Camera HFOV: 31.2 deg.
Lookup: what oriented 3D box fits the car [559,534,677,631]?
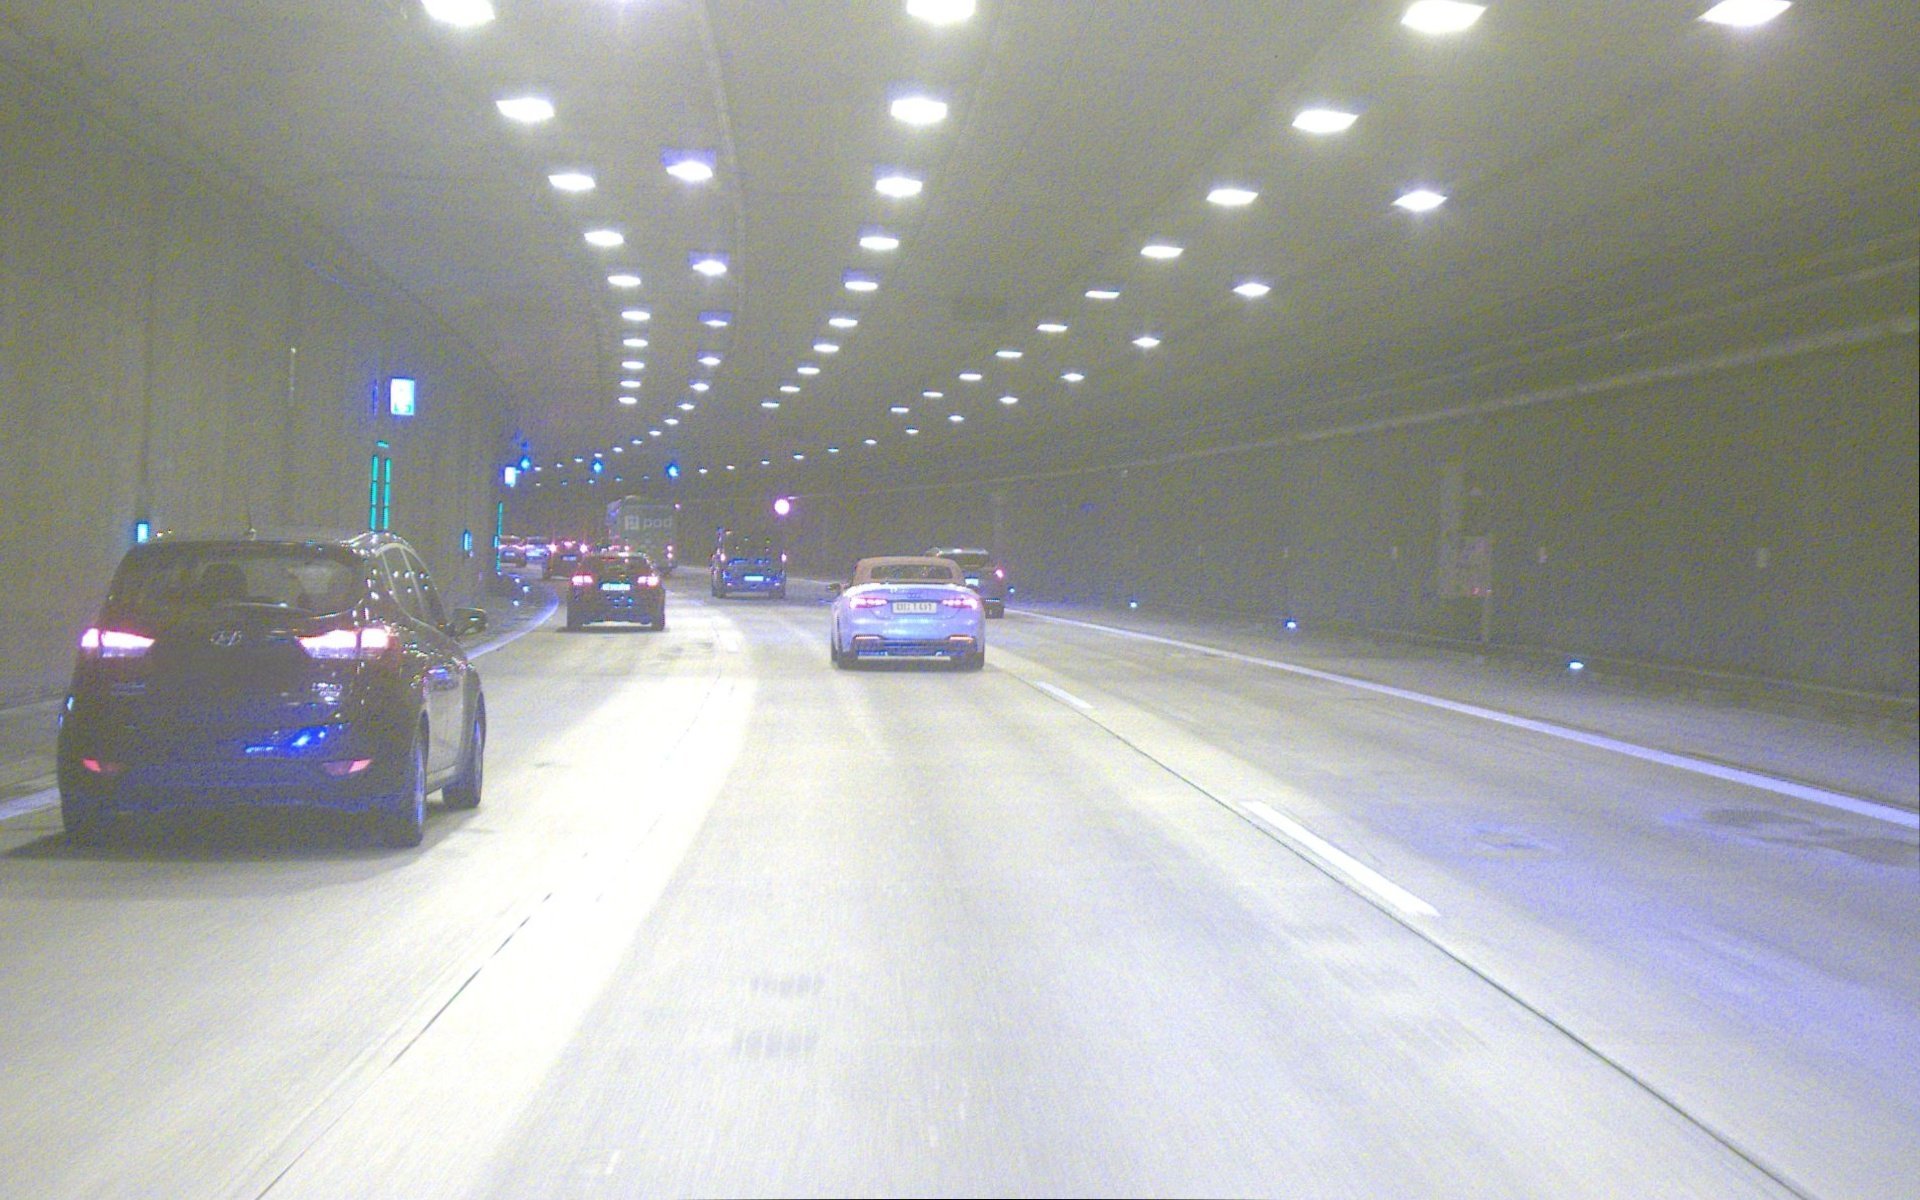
[{"bbox_3d":[-6.219,-0.335,62.184,1.800,1.678,4.001,0,1,-10],"label":"car"}]

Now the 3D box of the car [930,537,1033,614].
[{"bbox_3d":[0.429,-0.535,73.732,1.839,1.597,4.001,0,1,-5],"label":"car"}]

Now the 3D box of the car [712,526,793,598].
[{"bbox_3d":[-5.778,-1.058,95.463,1.993,1.965,4.001,0,1,-7],"label":"car"}]

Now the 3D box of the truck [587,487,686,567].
[{"bbox_3d":[-13.491,-3.090,142.756,3.082,3.102,10.033,1,2,-11],"label":"truck"}]

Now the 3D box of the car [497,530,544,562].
[{"bbox_3d":[-22.114,-2.707,172.787,1.993,1.525,4.001,1,0,-12],"label":"car"}]

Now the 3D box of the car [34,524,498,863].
[{"bbox_3d":[-3.550,0.415,18.224,1.785,1.593,3.802,1,1,-2],"label":"car"}]

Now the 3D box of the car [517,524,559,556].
[{"bbox_3d":[-23.628,-3.342,192.231,1.993,1.748,4.001,1,0,-11],"label":"car"}]

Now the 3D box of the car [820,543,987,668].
[{"bbox_3d":[-0.754,0.038,43.454,1.993,1.478,4.001,1,1,-2],"label":"car"}]
